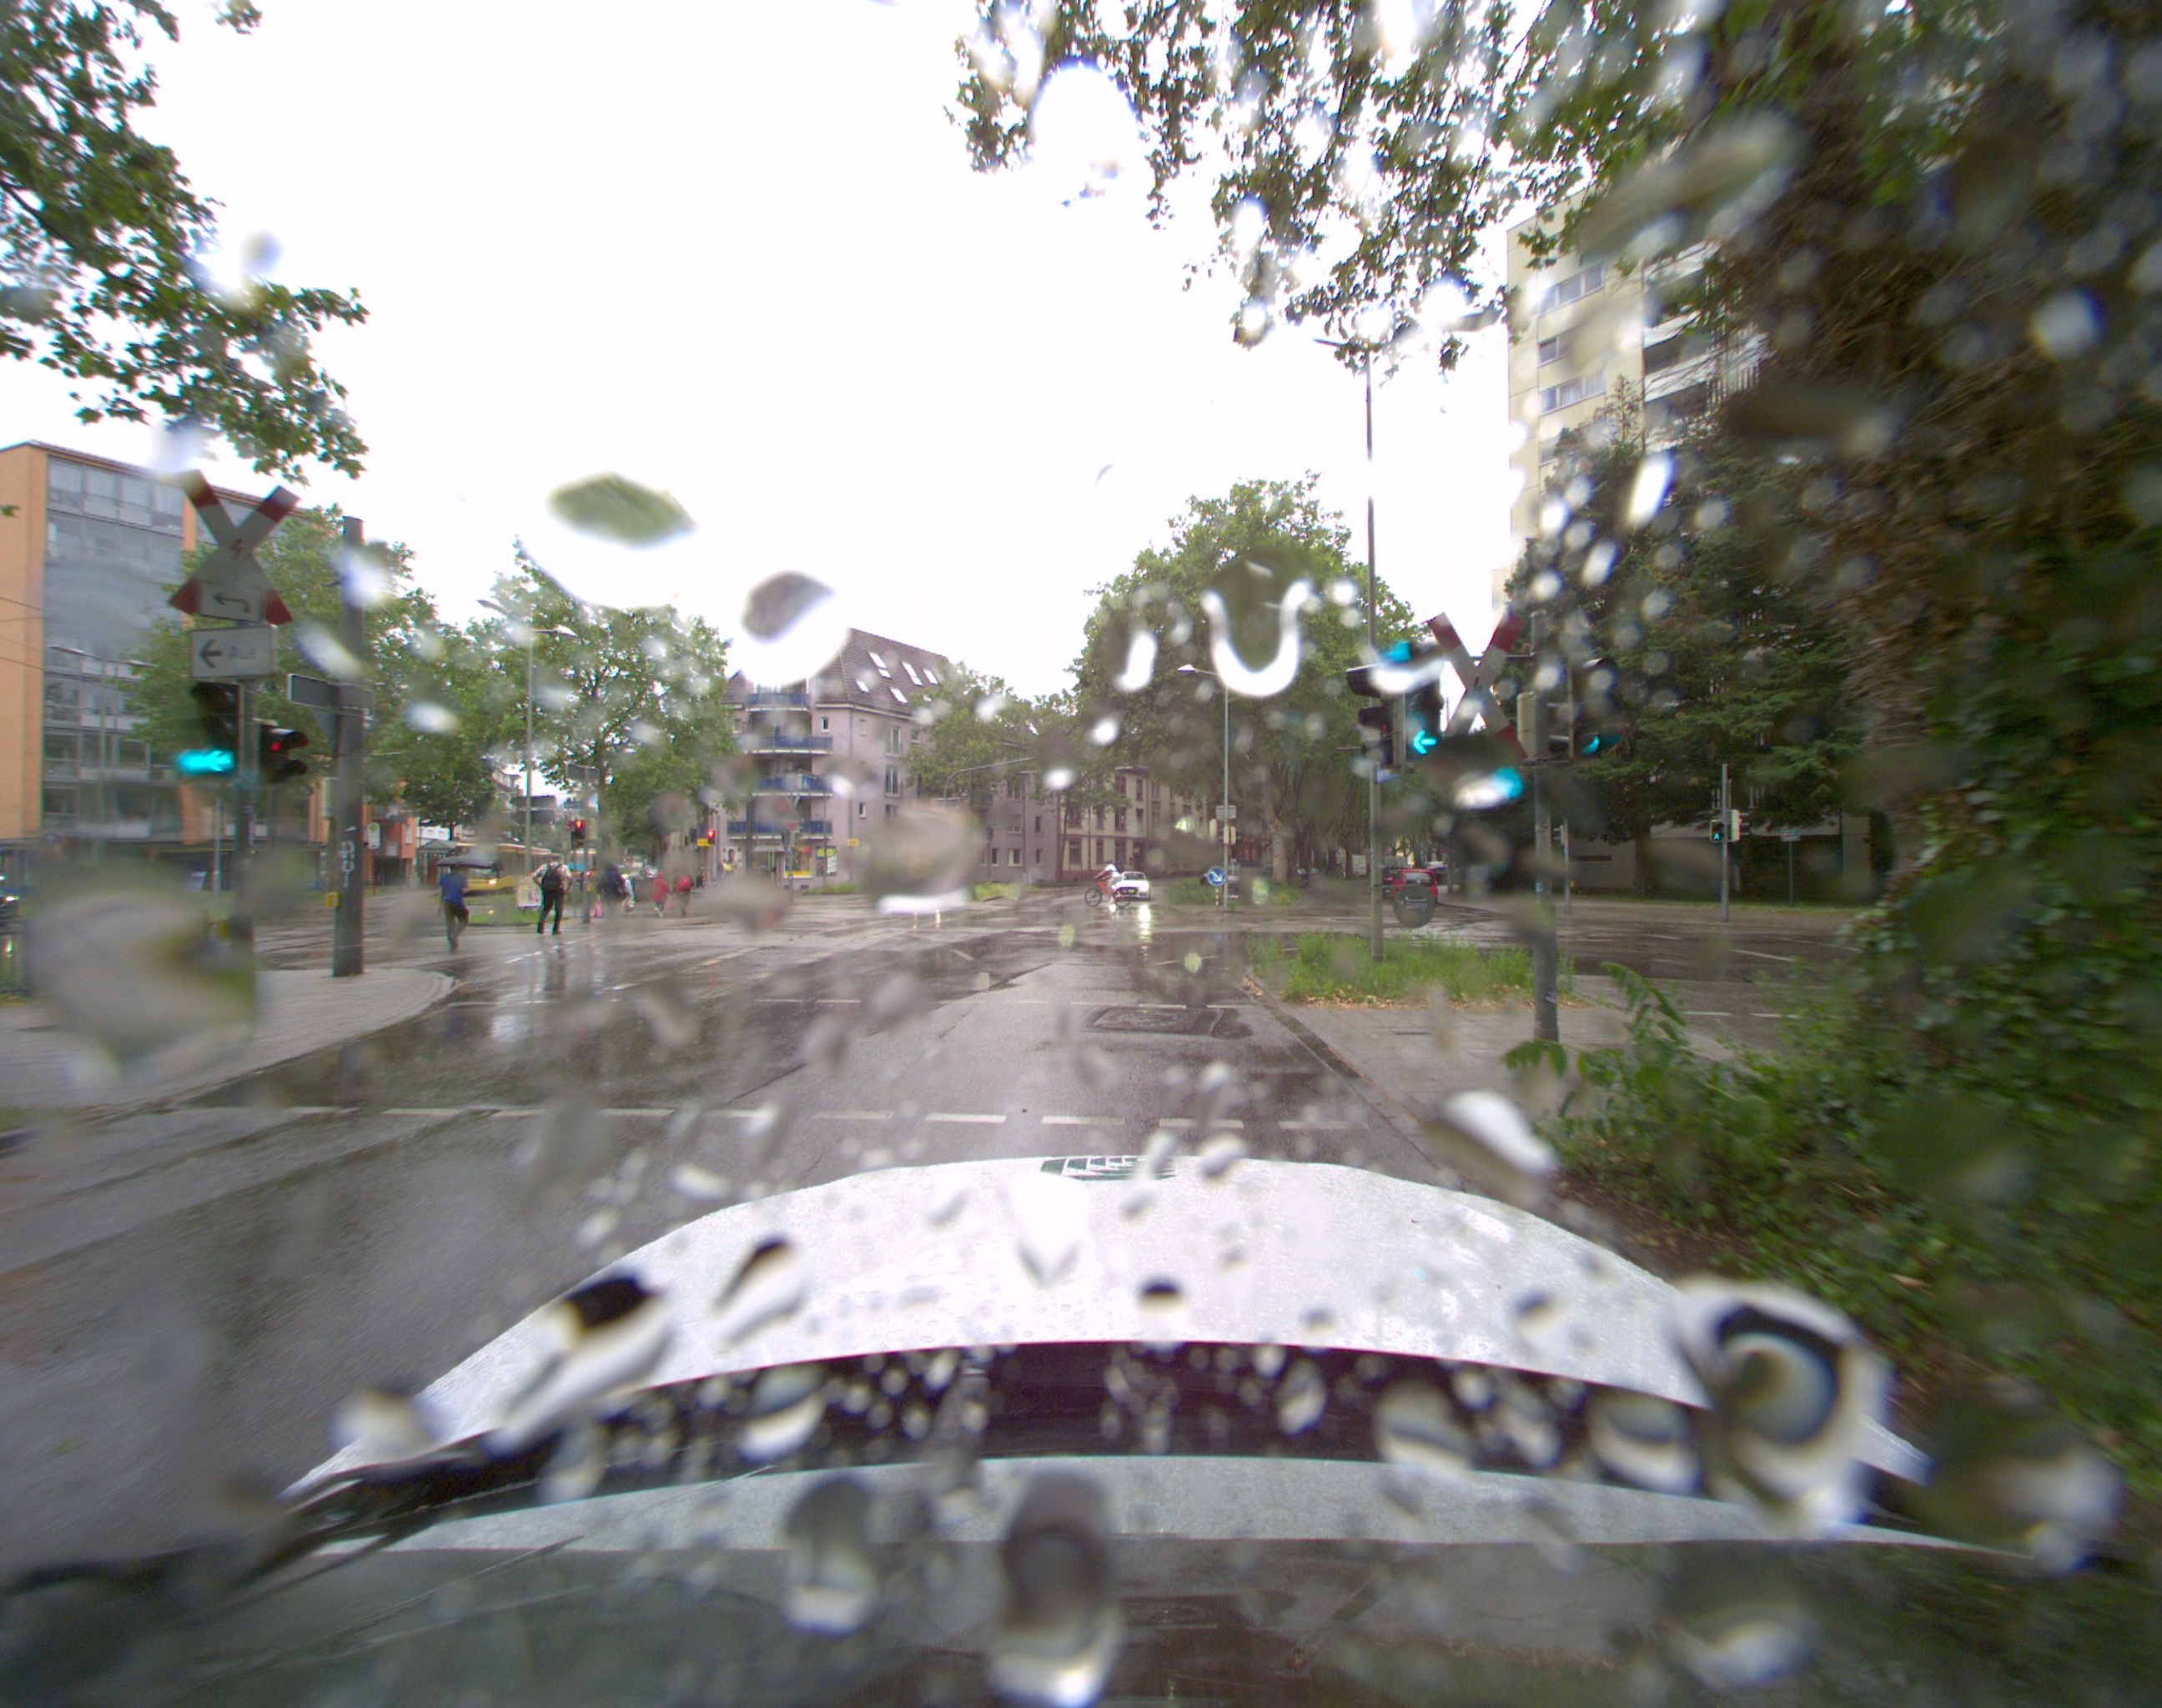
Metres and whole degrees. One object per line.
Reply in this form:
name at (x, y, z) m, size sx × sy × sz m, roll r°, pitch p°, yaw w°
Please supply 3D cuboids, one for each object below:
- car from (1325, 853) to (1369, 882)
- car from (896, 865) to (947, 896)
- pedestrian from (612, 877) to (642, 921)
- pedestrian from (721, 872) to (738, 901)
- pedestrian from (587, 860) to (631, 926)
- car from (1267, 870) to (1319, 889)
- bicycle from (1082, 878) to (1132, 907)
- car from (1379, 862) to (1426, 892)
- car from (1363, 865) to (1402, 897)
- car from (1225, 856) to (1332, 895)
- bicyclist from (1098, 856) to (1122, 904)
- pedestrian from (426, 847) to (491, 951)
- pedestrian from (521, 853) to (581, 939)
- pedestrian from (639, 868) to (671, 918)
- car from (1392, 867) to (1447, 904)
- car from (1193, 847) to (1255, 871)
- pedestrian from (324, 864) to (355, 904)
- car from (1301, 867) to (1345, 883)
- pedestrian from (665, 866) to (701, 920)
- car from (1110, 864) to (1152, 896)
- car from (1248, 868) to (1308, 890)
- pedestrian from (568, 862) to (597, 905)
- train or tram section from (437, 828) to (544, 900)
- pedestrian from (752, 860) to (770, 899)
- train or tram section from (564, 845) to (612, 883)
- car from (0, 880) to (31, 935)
car at (28.265, 1.427, 86.685) m, size 2.040 × 2.948 × 4.741 m, roll 0°, pitch -1°, yaw -18°
car at (-8.038, 1.300, 41.290) m, size 1.745 × 1.512 × 3.839 m, roll 0°, pitch -1°, yaw 1°
pedestrian at (-14.373, 1.418, 25.804) m, size 0.657 × 1.349 × 0.706 m, roll 0°, pitch -1°, yaw -12°
pedestrian at (-17.042, 1.566, 39.478) m, size 0.653 × 1.396 × 0.774 m, roll 0°, pitch -1°, yaw -33°
pedestrian at (-12.741, 1.034, 21.983) m, size 0.844 × 1.698 × 0.680 m, roll -4°, pitch 2°, yaw -42°
car at (16.783, 2.037, 64.549) m, size 3.958 × 1.486 × 2.008 m, roll -1°, pitch -1°, yaw 14°
bicycle at (1.002, 1.459, 31.187) m, size 1.862 × 1.081 × 0.658 m, roll -1°, pitch -1°, yaw 9°
car at (15.864, 1.096, 40.335) m, size 1.770 × 1.348 × 3.945 m, roll 0°, pitch 0°, yaw 16°
car at (17.291, 1.525, 46.888) m, size 1.769 × 1.727 × 4.016 m, roll -1°, pitch -1°, yaw 16°
car at (7.777, 0.848, 32.113) m, size 3.958 × 1.486 × 2.008 m, roll -1°, pitch -1°, yaw 14°
bicyclist at (1.115, 0.996, 31.188) m, size 0.790 × 1.786 × 0.699 m, roll -1°, pitch -1°, yaw 9°
pedestrian at (-11.663, 0.810, 15.249) m, size 0.876 × 1.864 × 0.881 m, roll 1°, pitch -1°, yaw -43°
pedestrian at (-11.216, 0.863, 17.263) m, size 0.867 × 1.755 × 0.825 m, roll 0°, pitch -1°, yaw -18°
pedestrian at (-13.197, 1.203, 25.241) m, size 0.681 × 1.520 × 0.658 m, roll -1°, pitch -1°, yaw -6°
car at (14.798, 1.337, 35.797) m, size 1.778 × 1.498 × 4.017 m, roll 0°, pitch 0°, yaw 16°
car at (9.322, 0.321, 53.161) m, size 3.838 × 1.486 × 1.723 m, roll -1°, pitch -1°, yaw 14°
pedestrian at (-33.635, 1.348, 36.932) m, size 0.965 × 1.766 × 0.941 m, roll 1°, pitch -2°, yaw -39°
car at (23.085, 2.012, 77.720) m, size 3.958 × 1.547 × 2.008 m, roll -1°, pitch -1°, yaw 14°
pedestrian at (-12.445, 1.200, 25.477) m, size 0.728 × 1.624 × 0.816 m, roll -1°, pitch 0°, yaw -5°
car at (2.380, 1.193, 38.643) m, size 1.876 × 1.436 × 4.004 m, roll 0°, pitch 0°, yaw 4°
car at (13.828, 1.756, 57.162) m, size 3.958 × 1.486 × 2.008 m, roll -1°, pitch -1°, yaw 14°
pedestrian at (-20.905, 1.243, 34.178) m, size 0.962 × 1.766 × 0.944 m, roll 0°, pitch -1°, yaw -28°
train or tram section at (-36.301, 0.677, 50.790) m, size 2.897 × 3.768 × 17.088 m, roll 0°, pitch -1°, yaw -28°
pedestrian at (-15.449, 1.229, 39.301) m, size 0.791 × 1.855 × 0.676 m, roll 0°, pitch -1°, yaw -22°
train or tram section at (-50.358, 1.006, 83.497) m, size 2.875 × 3.545 × 15.239 m, roll 0°, pitch -1°, yaw -26°
car at (-32.251, 1.521, 22.973) m, size 3.994 × 1.530 × 1.615 m, roll 0°, pitch 0°, yaw 12°
